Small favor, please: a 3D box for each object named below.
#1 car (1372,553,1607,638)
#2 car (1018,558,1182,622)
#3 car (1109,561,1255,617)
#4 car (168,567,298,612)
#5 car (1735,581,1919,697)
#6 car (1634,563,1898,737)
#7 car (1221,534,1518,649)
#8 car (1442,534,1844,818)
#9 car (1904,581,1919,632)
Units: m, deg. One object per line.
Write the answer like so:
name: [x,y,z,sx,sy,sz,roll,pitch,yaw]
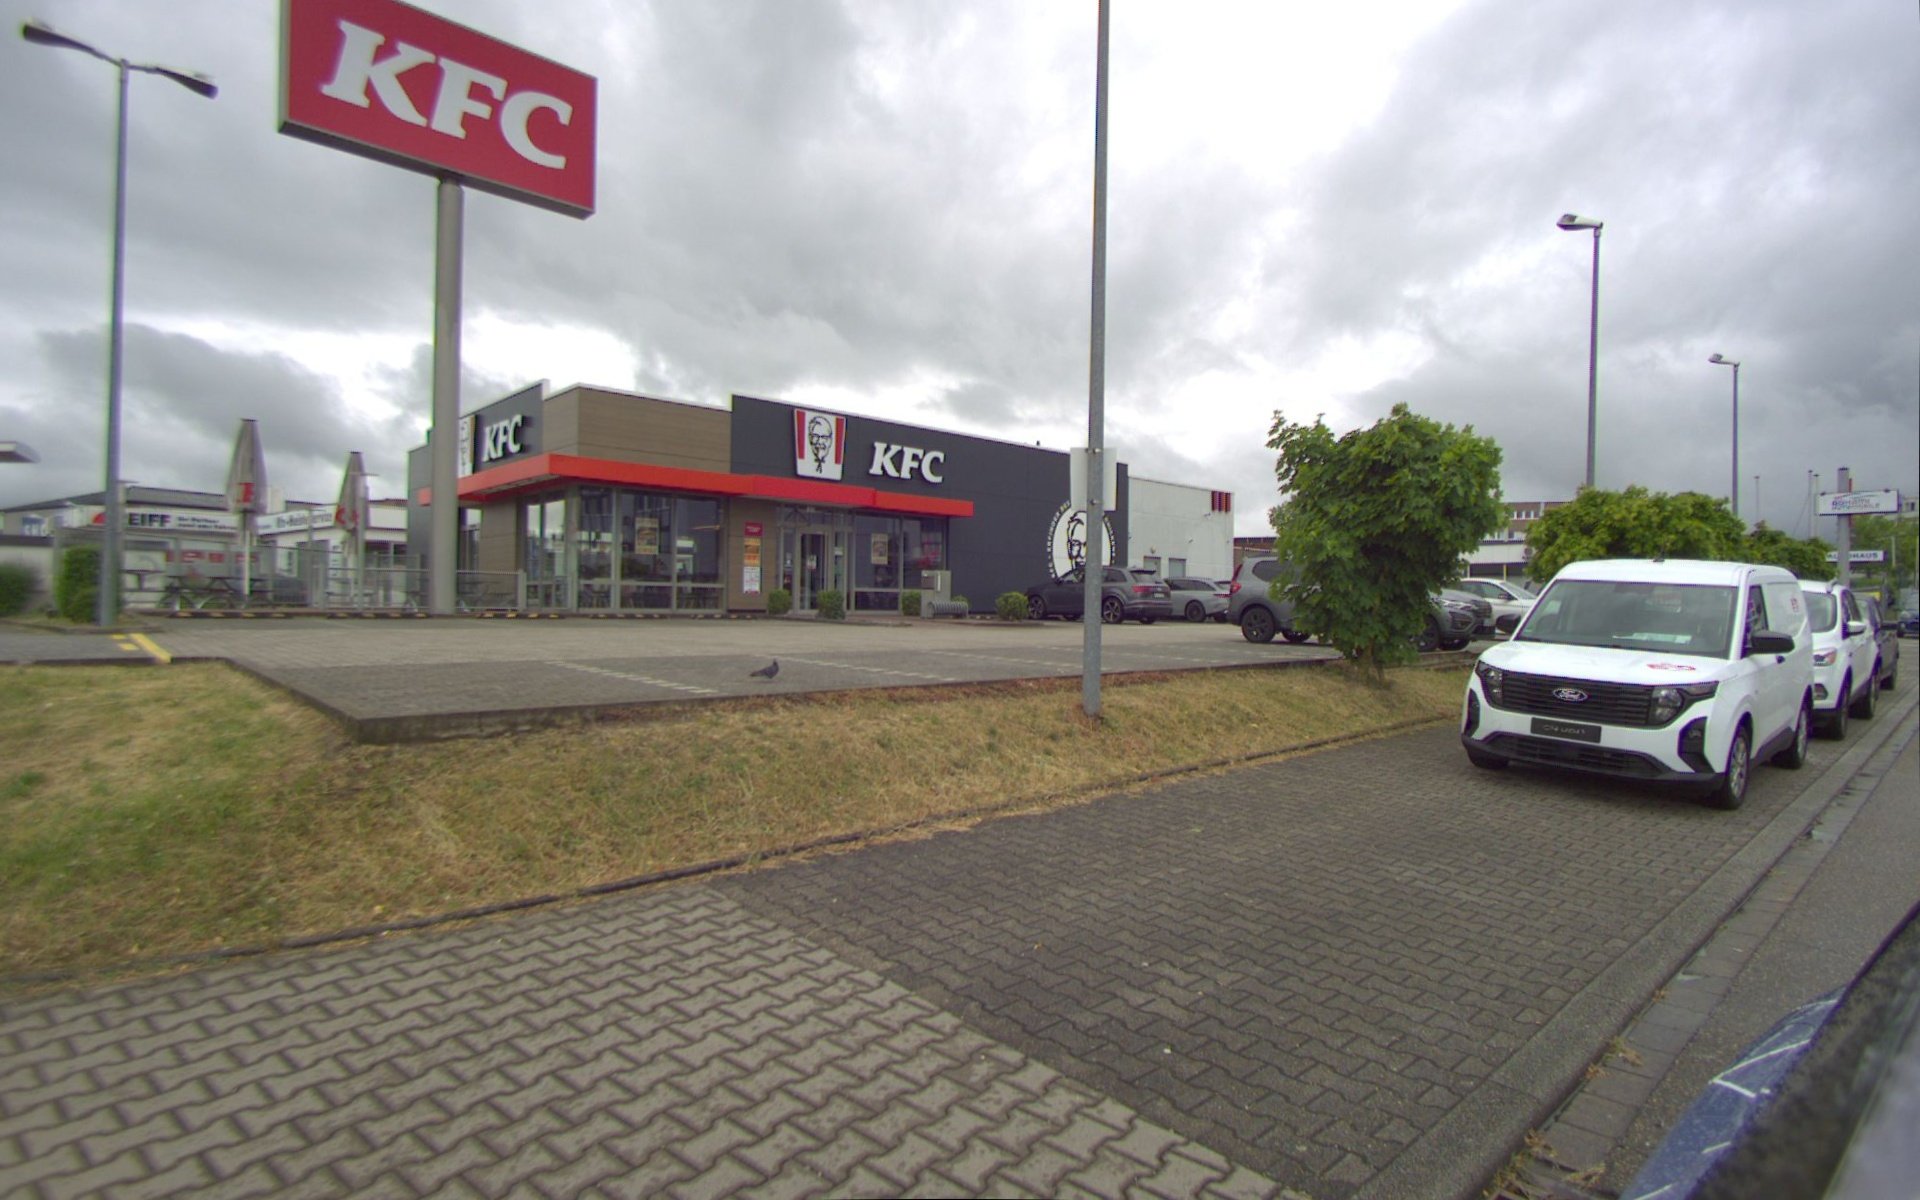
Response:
car: [12.096,-0.142,23.329,4.488,1.762,1.863,1,1,44]
car: [4.151,-0.327,30.532,4.728,1.762,1.863,1,1,44]
car: [7.387,-0.385,33.915,4.488,1.762,1.863,1,1,44]
car: [-28.625,-0.422,39.902,1.952,1.701,3.935,1,1,45]
car: [13.981,0.517,16.173,3.931,1.618,1.821,-1,1,-42]
car: [9.670,0.463,12.040,3.931,1.729,1.821,-1,1,-42]
car: [7.060,-0.180,17.778,4.488,1.762,1.863,1,1,44]
car: [5.889,0.425,8.523,4.176,1.805,1.796,-1,3,-42]
car: [34.782,0.208,35.695,3.931,1.729,1.821,-1,1,-42]
